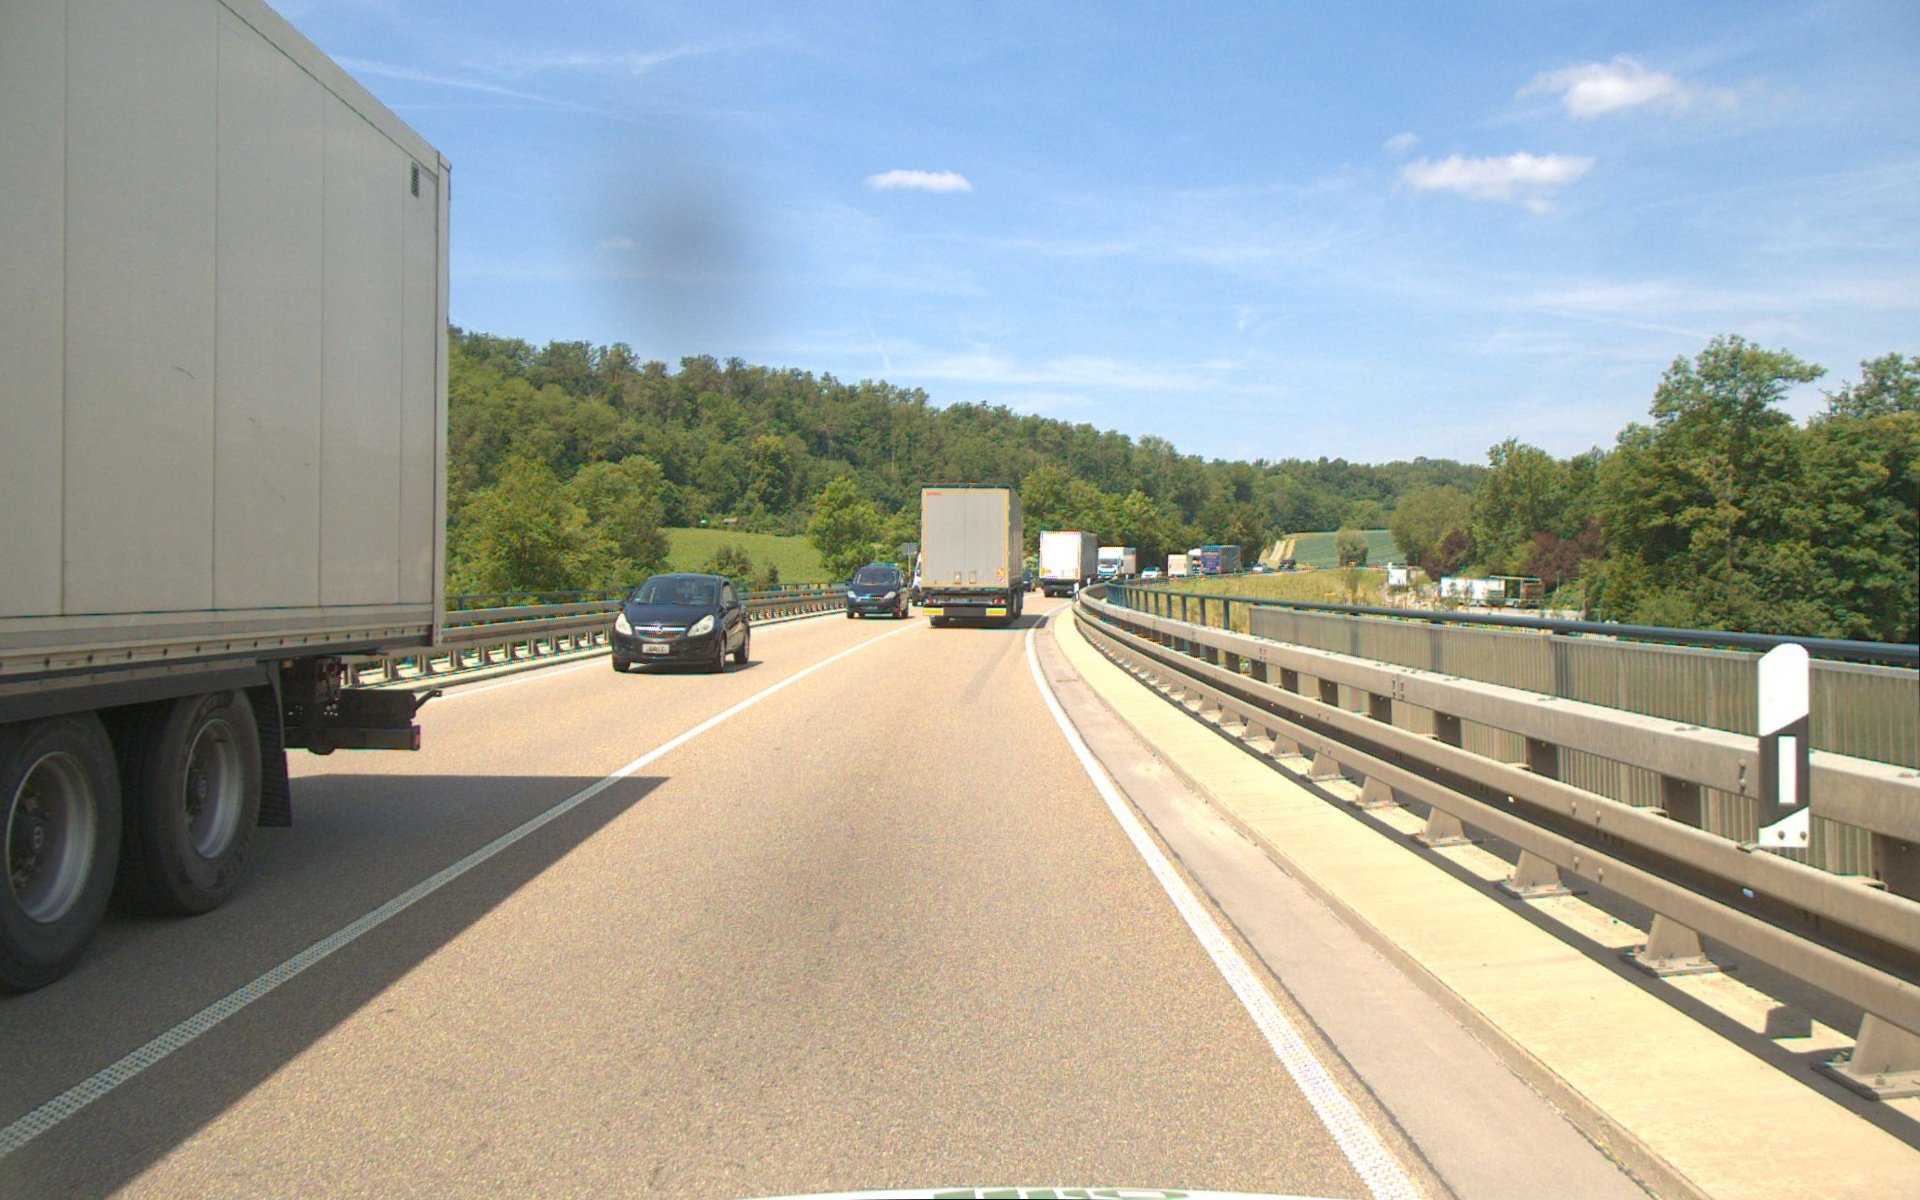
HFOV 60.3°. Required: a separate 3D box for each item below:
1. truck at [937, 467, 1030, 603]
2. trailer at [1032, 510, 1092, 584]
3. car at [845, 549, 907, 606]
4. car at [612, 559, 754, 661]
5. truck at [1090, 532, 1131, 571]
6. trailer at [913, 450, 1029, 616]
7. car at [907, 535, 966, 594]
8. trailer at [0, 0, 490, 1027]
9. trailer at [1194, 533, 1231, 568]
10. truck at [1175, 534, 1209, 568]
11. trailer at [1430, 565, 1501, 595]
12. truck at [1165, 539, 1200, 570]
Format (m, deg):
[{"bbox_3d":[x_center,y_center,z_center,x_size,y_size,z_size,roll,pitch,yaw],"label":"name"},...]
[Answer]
[{"bbox_3d":[0.923,-2.307,59.341,3.053,4.572,6.815,0,2,3],"label":"truck"},{"bbox_3d":[6.670,-3.310,106.069,3.294,4.392,13.875,0,1,6],"label":"trailer"},{"bbox_3d":[-2.845,-0.796,56.985,1.814,1.830,4.978,1,1,0],"label":"car"},{"bbox_3d":[-4.290,0.116,26.115,1.627,1.483,3.894,0,1,-1],"label":"car"},{"bbox_3d":[15.251,-4.902,167.510,2.852,3.869,9.718,1,2,13],"label":"truck"},{"bbox_3d":[0.595,-2.086,52.706,3.053,4.577,13.894,0,2,3],"label":"trailer"},{"bbox_3d":[-1.060,-1.618,77.338,2.133,2.604,5.801,1,0,5],"label":"car"},{"bbox_3d":[-4.348,-0.766,3.543,2.795,4.260,14.496,1,2,-1],"label":"trailer"},{"bbox_3d":[31.924,-6.173,208.696,3.570,4.337,12.206,1,1,13],"label":"trailer"},{"bbox_3d":[30.832,-6.457,219.305,2.996,4.337,9.874,1,1,17],"label":"truck"},{"bbox_3d":[61.556,-2.458,201.658,2.672,3.385,11.856,0,2,-13],"label":"trailer"},{"bbox_3d":[25.281,-5.097,187.568,3.154,3.424,11.886,1,1,11],"label":"truck"}]
